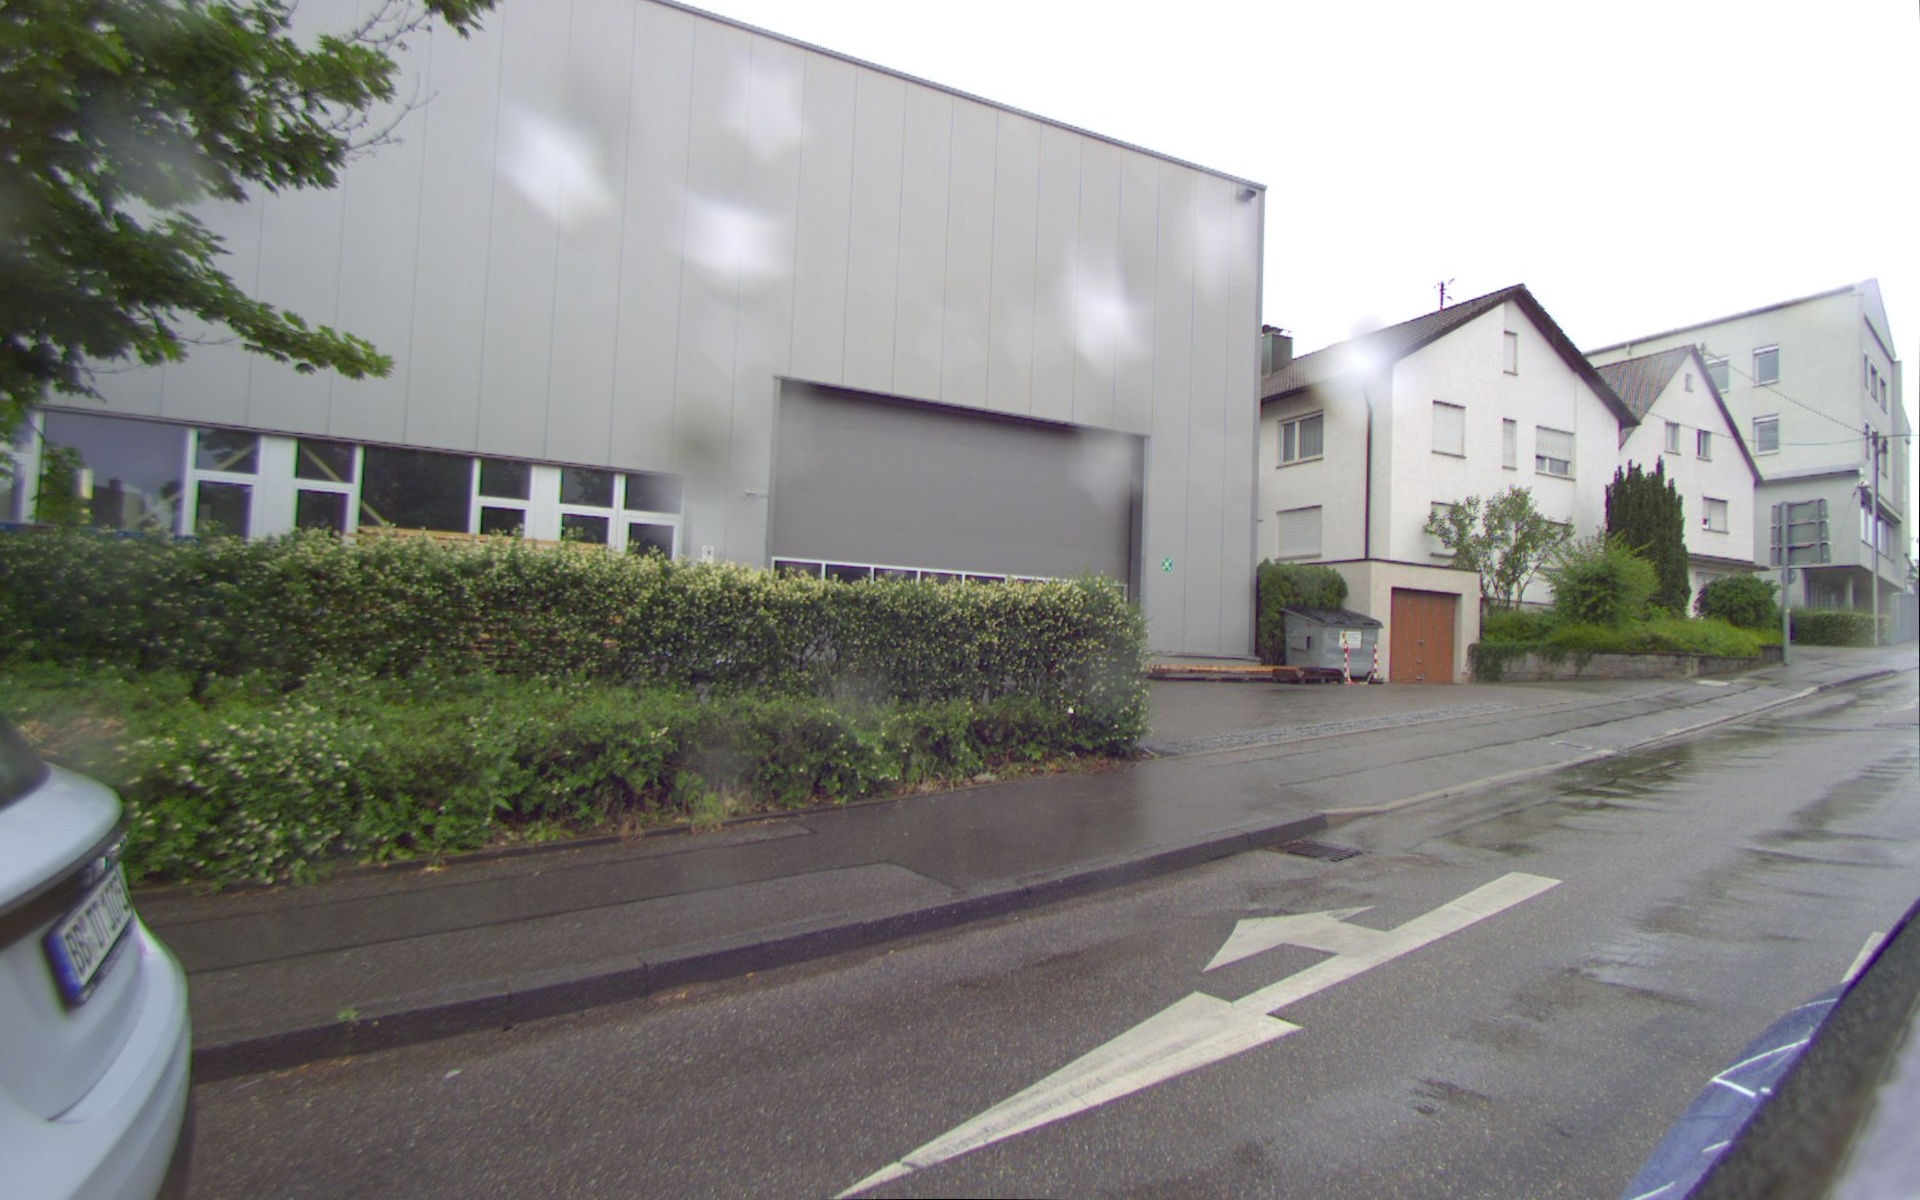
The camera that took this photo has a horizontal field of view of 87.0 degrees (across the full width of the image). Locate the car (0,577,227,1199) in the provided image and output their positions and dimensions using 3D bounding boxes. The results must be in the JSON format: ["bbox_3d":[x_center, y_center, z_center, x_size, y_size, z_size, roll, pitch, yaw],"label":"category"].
[{"bbox_3d":[-3.127,0.703,0.906,3.829,1.574,1.695,2,-1,-32],"label":"car"}]

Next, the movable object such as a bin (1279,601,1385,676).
[{"bbox_3d":[8.026,0.818,21.870,1.556,1.555,1.451,2,-1,-25],"label":"movable object such as a bin"}]
